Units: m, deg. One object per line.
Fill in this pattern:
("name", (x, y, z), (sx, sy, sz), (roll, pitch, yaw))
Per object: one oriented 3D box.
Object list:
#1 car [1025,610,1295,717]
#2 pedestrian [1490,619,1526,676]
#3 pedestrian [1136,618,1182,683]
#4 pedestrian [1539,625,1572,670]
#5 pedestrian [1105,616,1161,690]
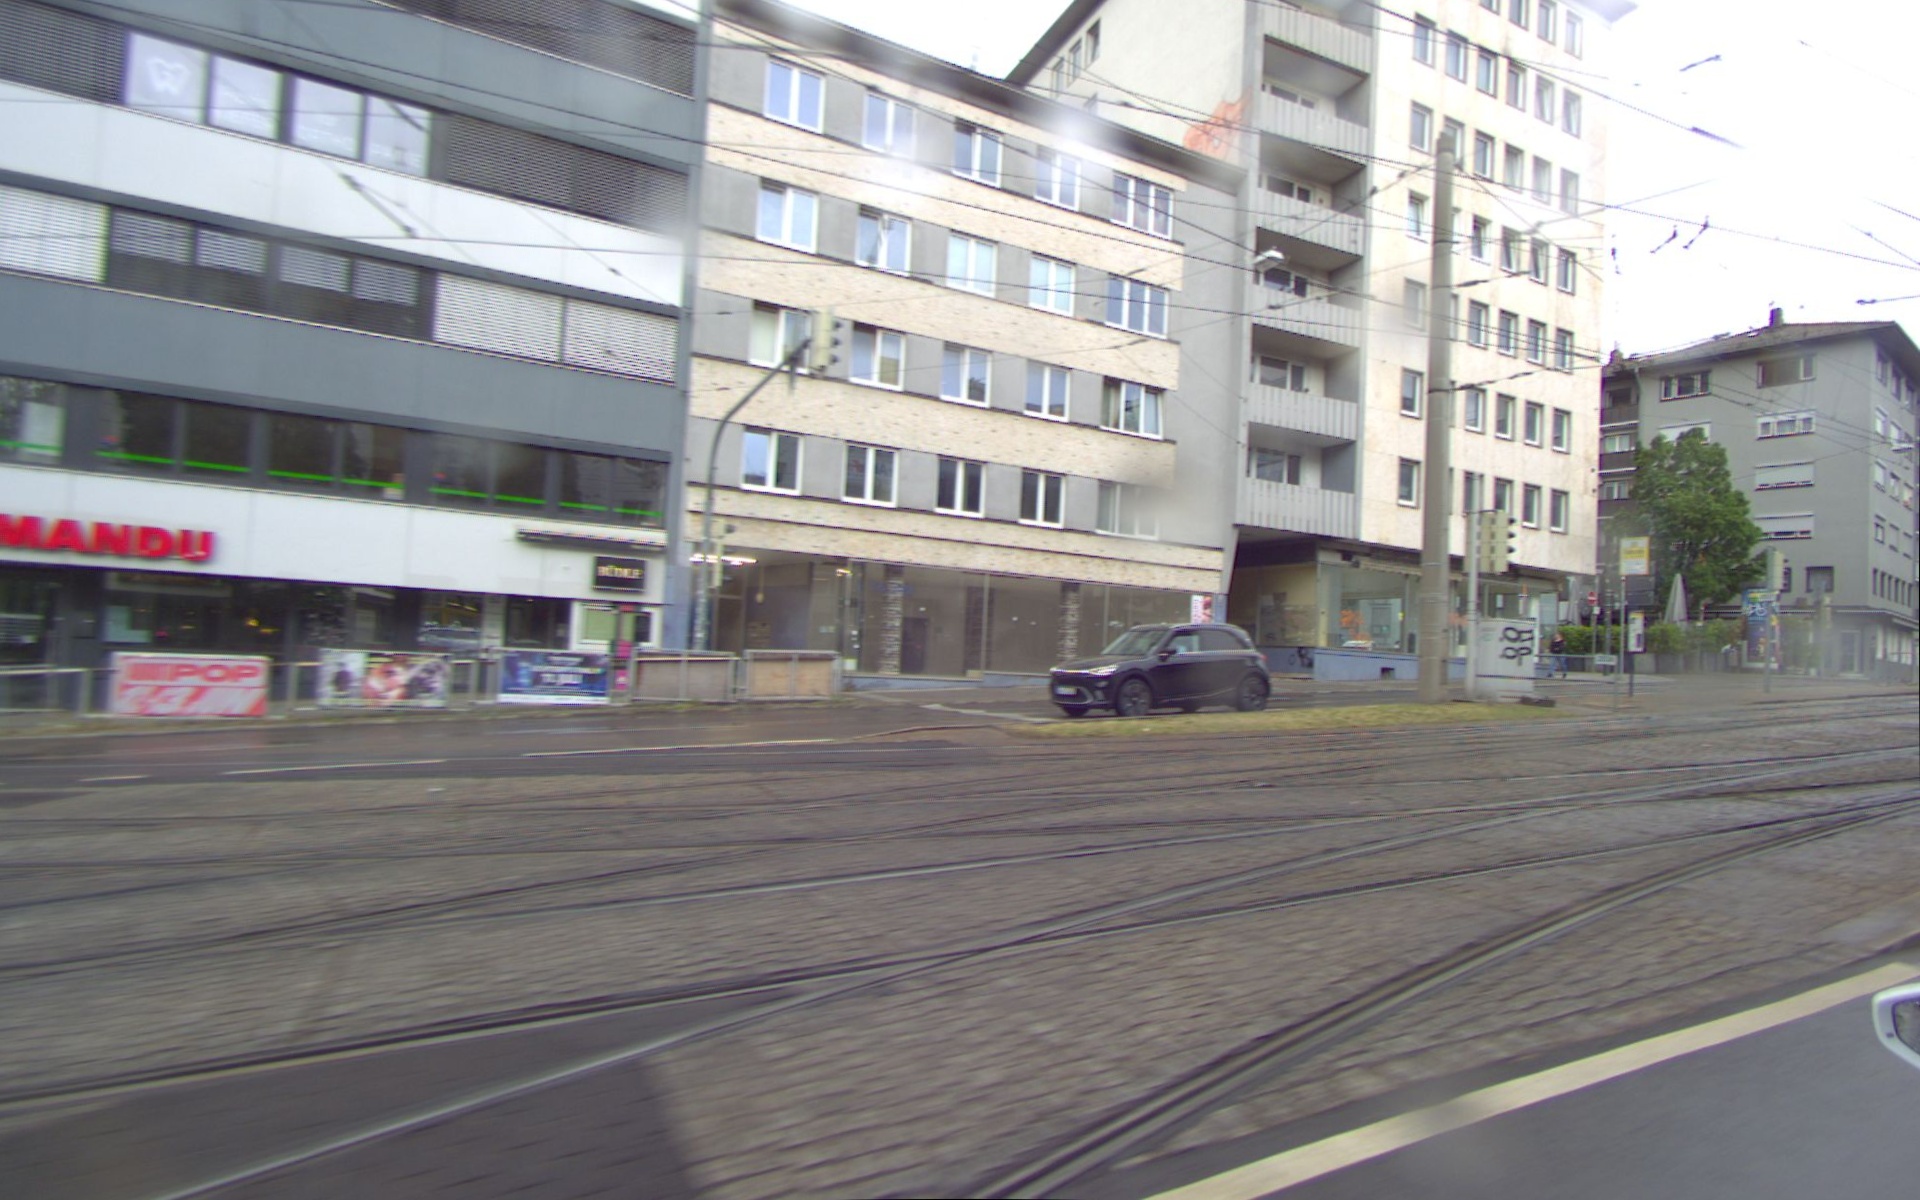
("car", (3.575, 1.085, 17.883), (4.468, 1.695, 1.987), (1, -2, -27))
("pedestrian", (17.279, 1.502, 31.683), (0.898, 1.761, 0.594), (1, -2, -29))
("pedestrian", (5.308, 1.352, 26.813), (0.986, 1.703, 0.676), (1, -2, -29))
("pedestrian", (20.890, 1.673, 35.251), (0.767, 1.569, 0.675), (1, -2, -28))
("pedestrian", (4.062, 1.234, 23.652), (0.985, 1.703, 0.885), (1, -2, -24))
